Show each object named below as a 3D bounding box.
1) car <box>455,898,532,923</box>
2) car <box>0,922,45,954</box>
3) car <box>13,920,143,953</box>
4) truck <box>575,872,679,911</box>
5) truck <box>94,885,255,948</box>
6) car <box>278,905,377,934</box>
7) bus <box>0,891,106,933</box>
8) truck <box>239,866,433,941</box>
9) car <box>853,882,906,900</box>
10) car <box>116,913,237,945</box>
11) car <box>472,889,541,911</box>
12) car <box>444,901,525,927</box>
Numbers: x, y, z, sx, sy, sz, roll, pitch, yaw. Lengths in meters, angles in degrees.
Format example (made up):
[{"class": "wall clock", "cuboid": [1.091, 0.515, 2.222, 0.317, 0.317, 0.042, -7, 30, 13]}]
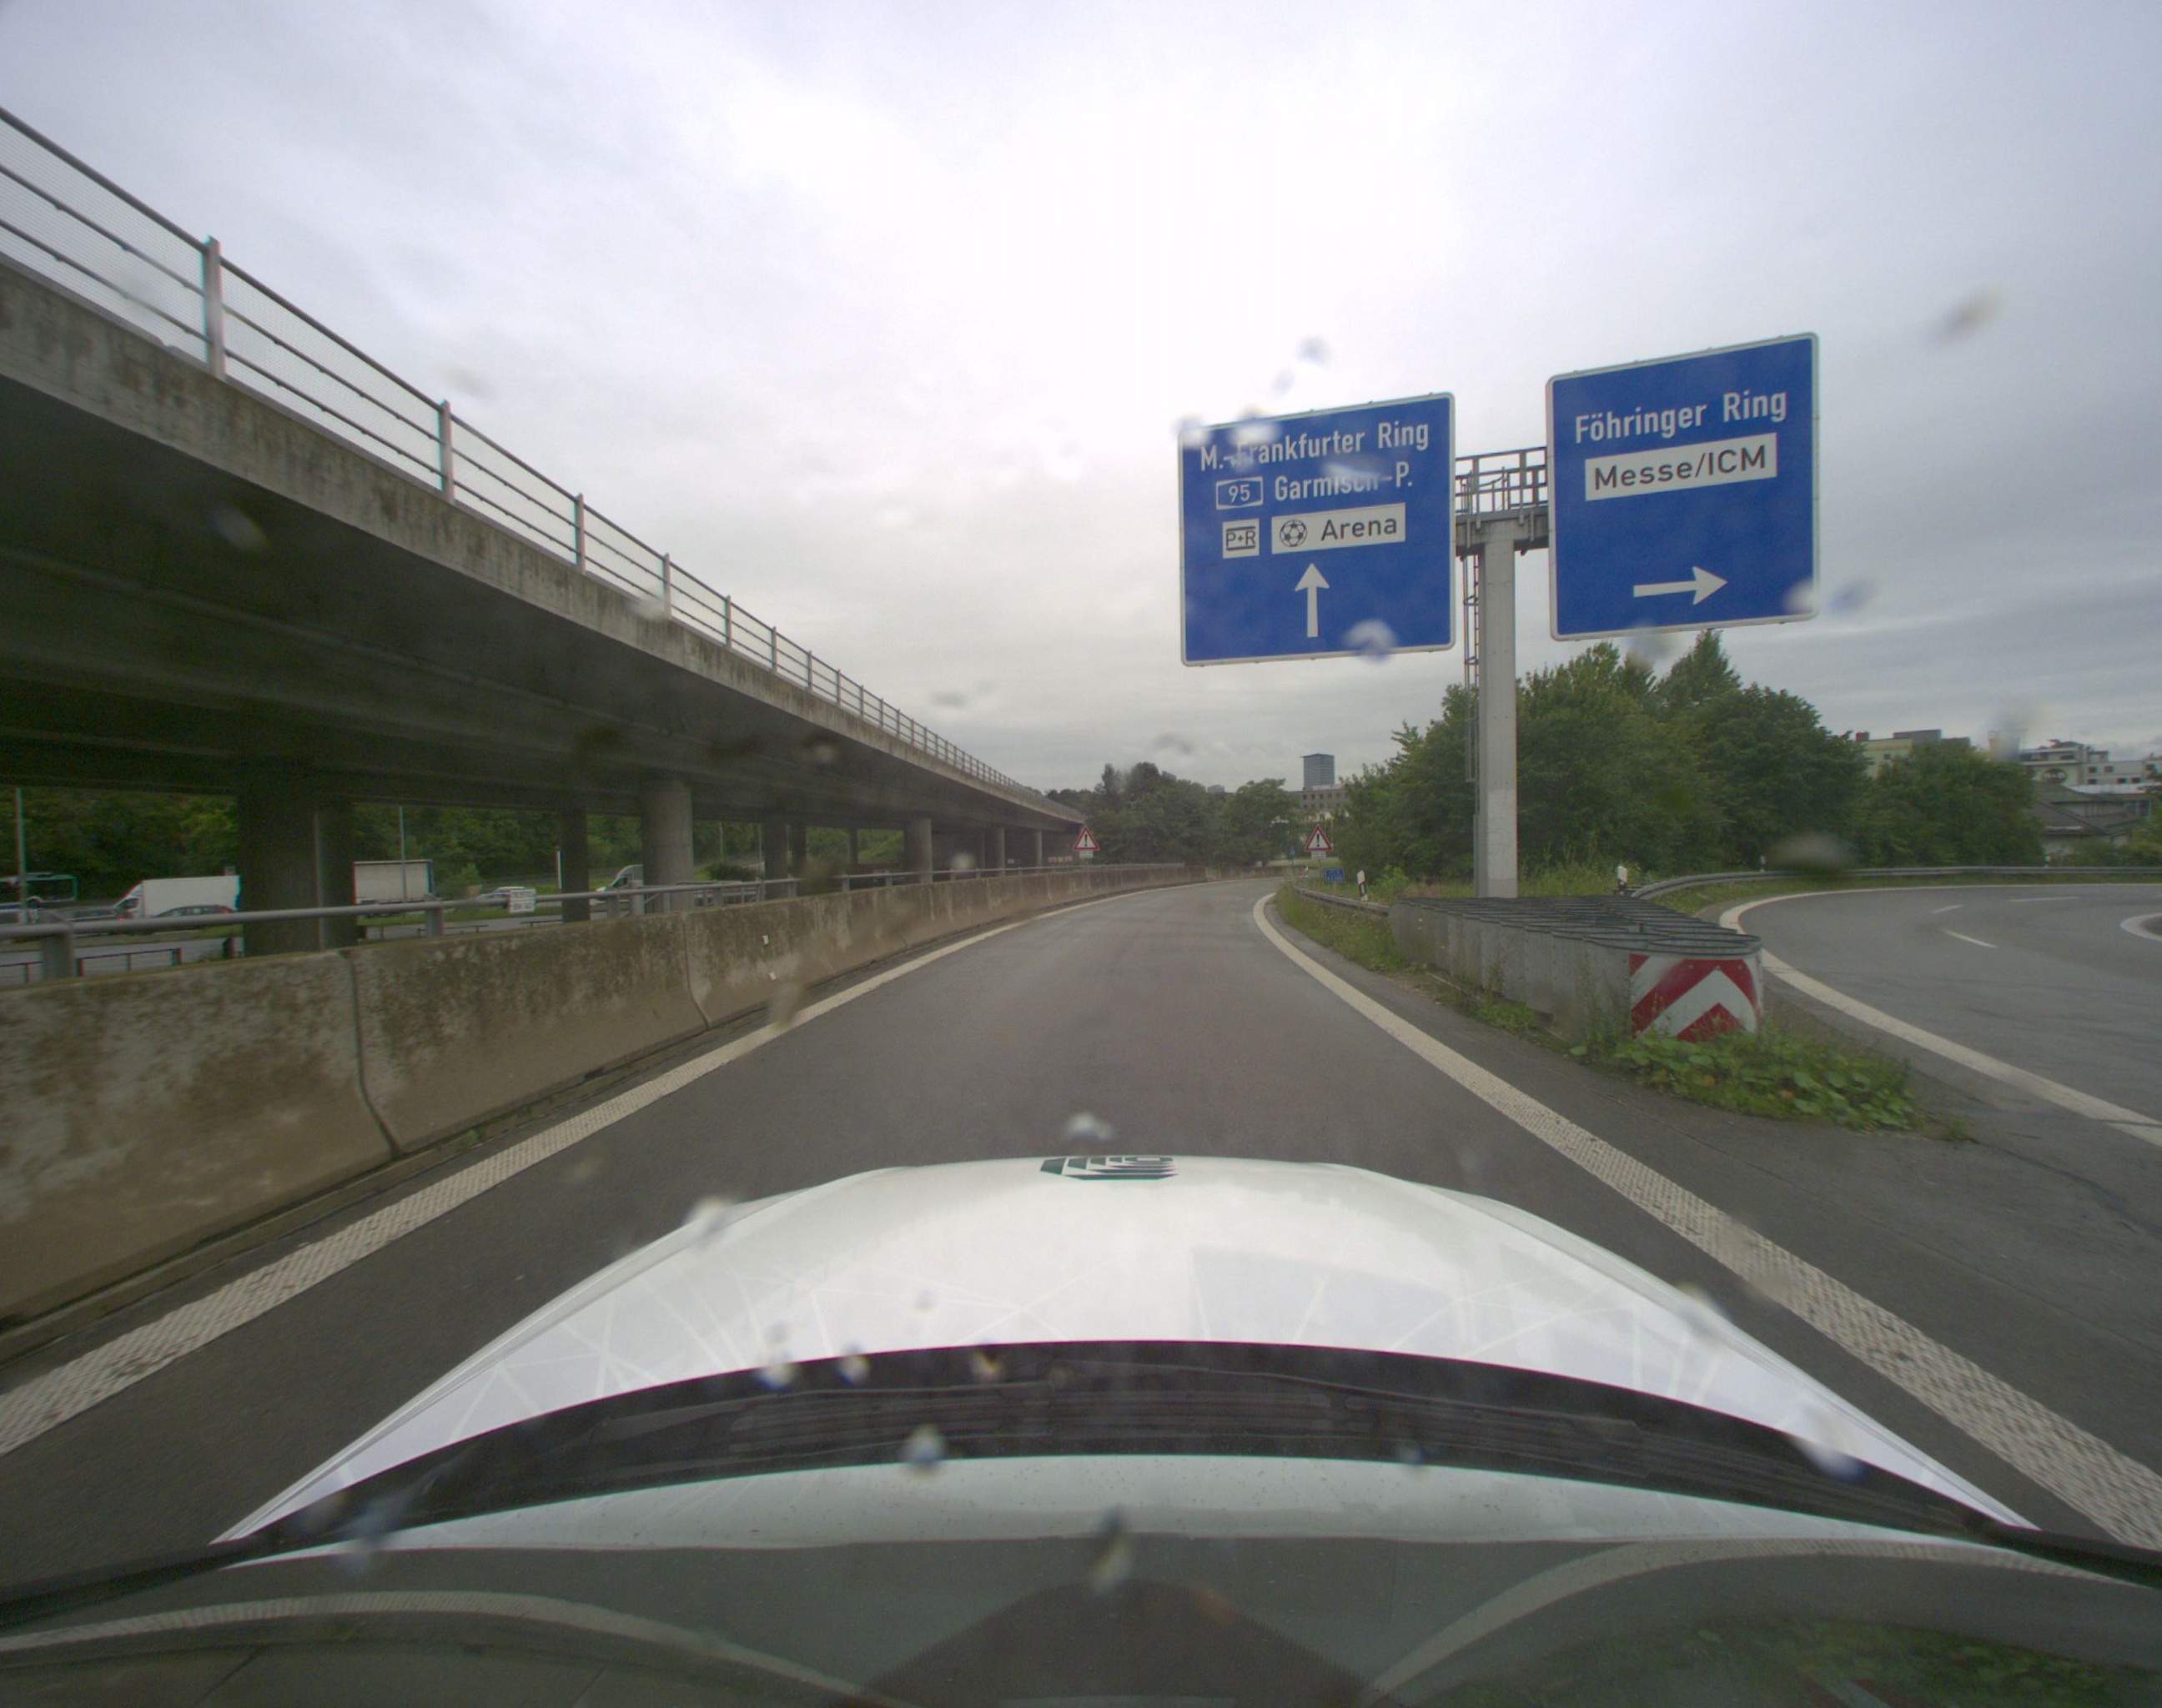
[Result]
[{"class": "car", "cuboid": [-44.021, 4.182, 61.167, 4.611, 1.583, 1.953, -1, -2, -36]}, {"class": "car", "cuboid": [-61.098, 4.752, 44.888, 4.613, 1.606, 1.952, -1, -2, -39]}, {"class": "car", "cuboid": [-60.392, 4.939, 49.175, 4.613, 1.606, 1.952, -1, -2, -39]}, {"class": "truck", "cuboid": [-37.026, 3.015, 66.550, 7.261, 2.977, 2.236, 0, -2, -34]}, {"class": "truck", "cuboid": [-59.874, 4.039, 54.066, 6.673, 3.680, 2.768, -1, -2, -36]}, {"class": "car", "cuboid": [-49.619, 4.307, 53.771, 4.613, 1.583, 1.952, -1, -2, -39]}, {"class": "bus", "cuboid": [-99.160, 5.450, 76.729, 2.215, 3.701, 9.918, 0, -2, 3]}, {"class": "truck", "cuboid": [-51.108, 3.253, 56.371, 9.644, 4.592, 2.768, -1, -2, -36]}, {"class": "car", "cuboid": [-19.675, 3.582, 79.562, 4.613, 1.583, 1.952, -1, -2, -38]}, {"class": "car", "cuboid": [-54.816, 4.504, 49.499, 4.613, 1.583, 1.953, -1, -2, -38]}, {"class": "car", "cuboid": [-47.230, 3.789, 67.066, 4.610, 1.583, 1.954, -1, -2, -35]}, {"class": "car", "cuboid": [-42.924, 4.292, 58.624, 4.613, 1.583, 1.952, -1, -2, -39]}]
